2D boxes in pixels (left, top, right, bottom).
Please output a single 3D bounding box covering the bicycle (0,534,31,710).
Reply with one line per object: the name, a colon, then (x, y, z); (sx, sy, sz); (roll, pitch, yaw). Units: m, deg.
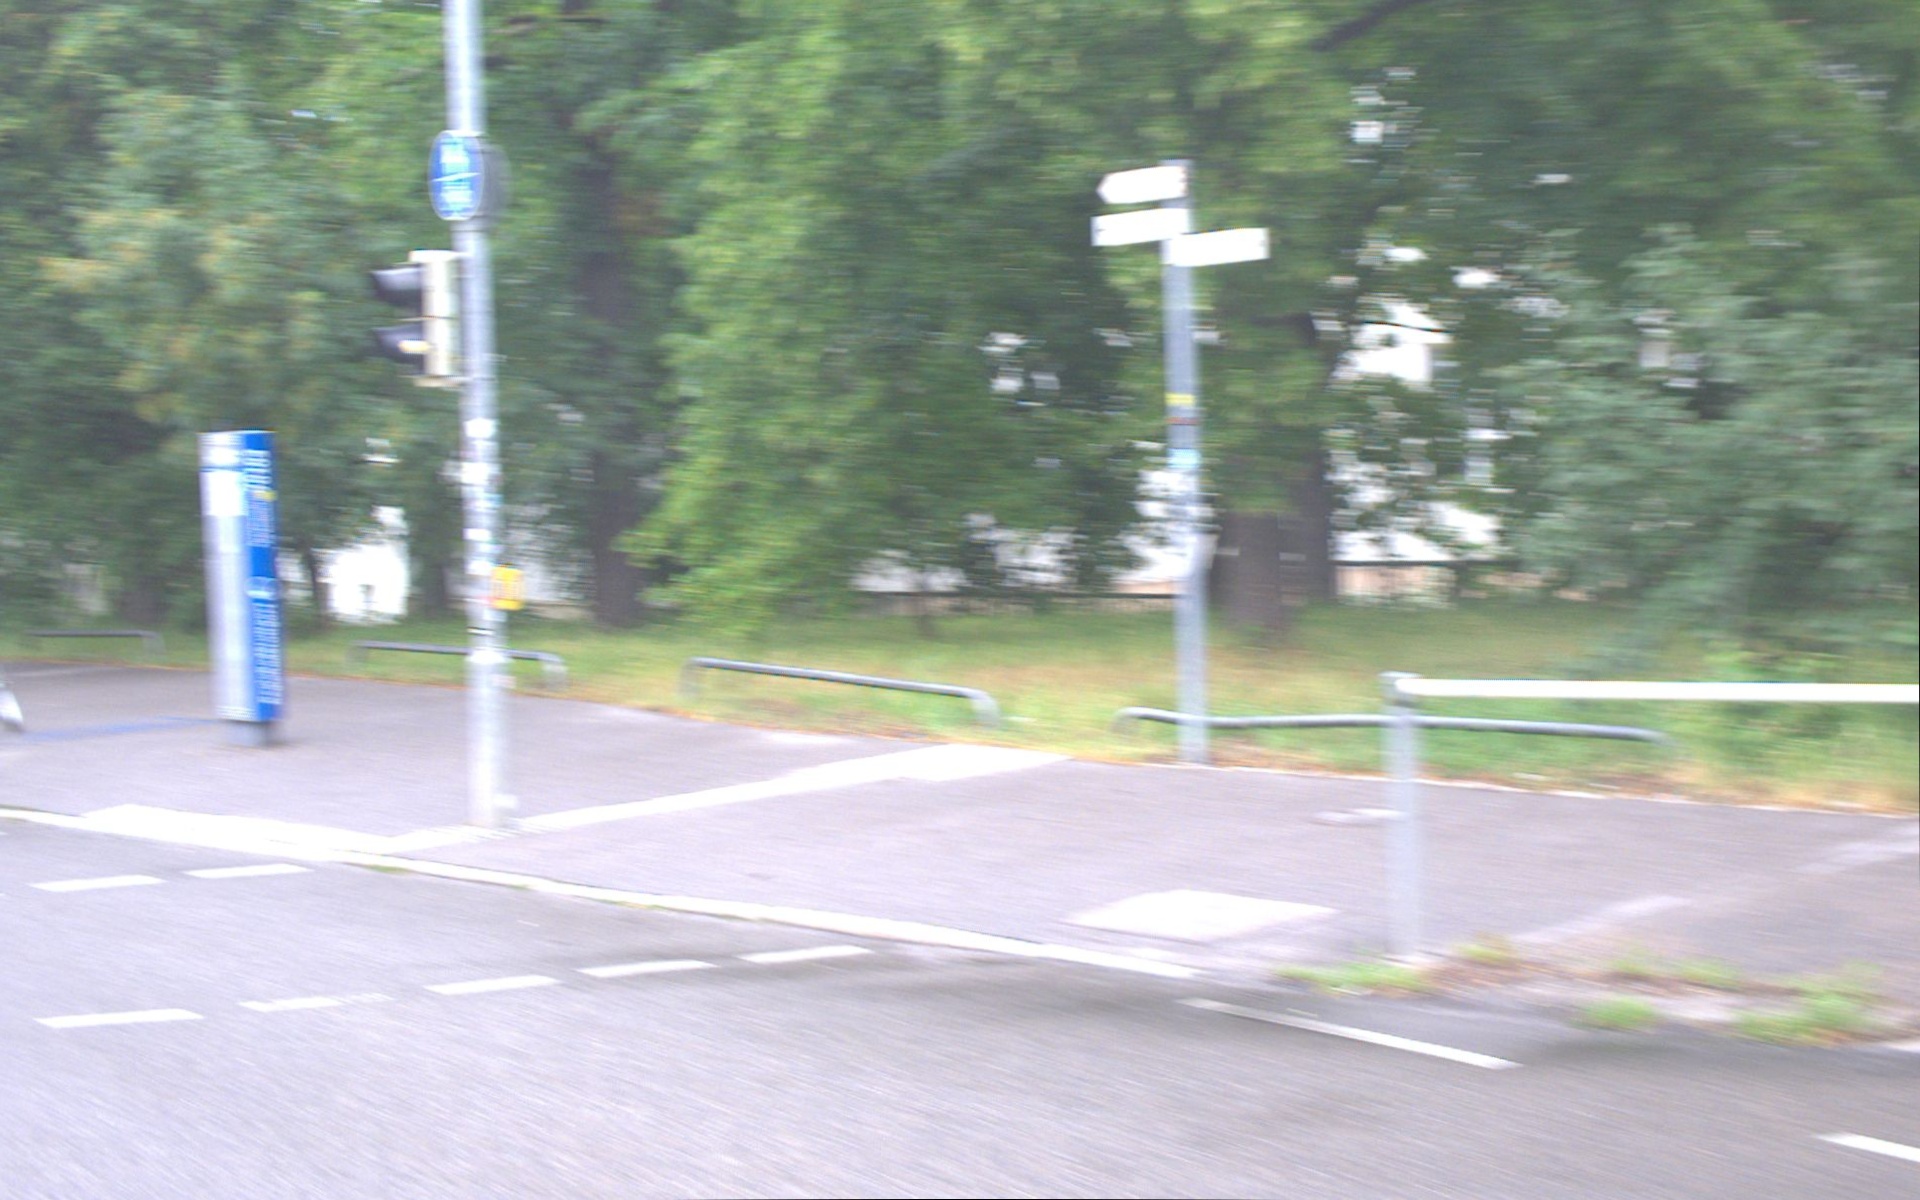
bicycle: (-6.891, 0.209, 22.099); (1.597, 1.127, 0.556); (-7, 4, -40)
